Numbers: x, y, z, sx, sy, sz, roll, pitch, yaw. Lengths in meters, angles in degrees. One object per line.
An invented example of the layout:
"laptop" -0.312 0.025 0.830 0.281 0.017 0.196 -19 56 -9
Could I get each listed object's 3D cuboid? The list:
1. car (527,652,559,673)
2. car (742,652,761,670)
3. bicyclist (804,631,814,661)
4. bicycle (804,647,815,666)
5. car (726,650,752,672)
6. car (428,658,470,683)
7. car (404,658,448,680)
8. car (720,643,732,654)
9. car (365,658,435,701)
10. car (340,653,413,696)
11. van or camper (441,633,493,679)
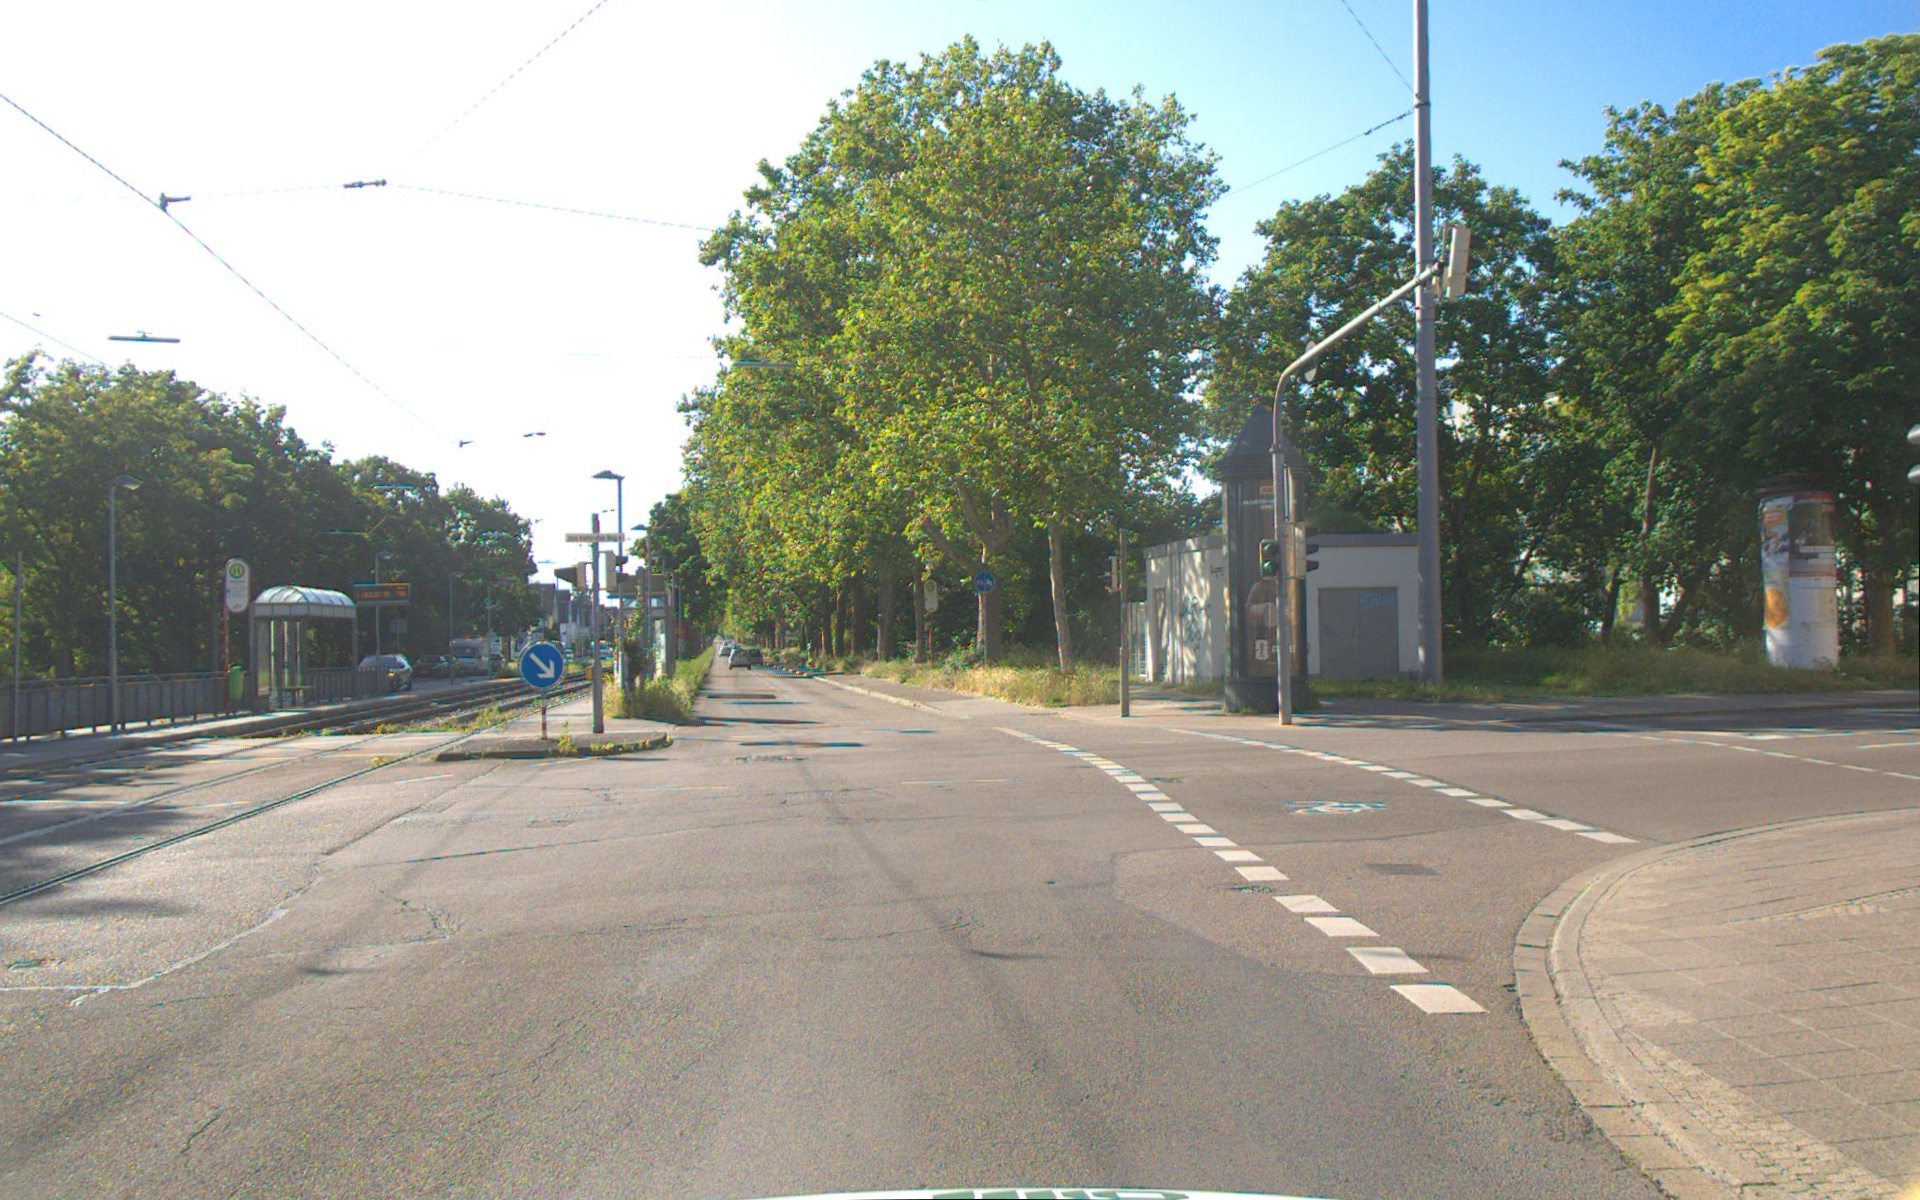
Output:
"car" -31.346 4.671 124.529 1.957 1.495 4.365 -1 -2 -10
"car" -18.859 5.513 149.521 1.718 1.633 3.742 0 -2 -8
"bicyclist" -9.167 2.804 100.489 0.524 1.801 0.711 -1 -2 -10
"bicycle" -9.152 3.424 100.496 0.526 1.085 1.430 -1 -2 -10
"car" -15.924 4.397 119.300 1.832 1.512 3.548 0 -2 -8
"car" -34.199 4.720 110.763 1.884 1.589 3.994 -1 -2 -6
"car" -33.837 4.369 104.966 1.884 1.288 3.994 -1 -2 -7
"car" -34.376 7.141 242.696 1.718 1.632 3.572 -1 -1 -9
"car" -20.752 2.938 61.425 1.772 1.492 3.991 -1 -2 -9
"car" -23.296 2.969 66.123 1.884 1.595 3.994 -1 -2 -7
"van or camper" -35.072 3.974 117.761 2.541 3.161 6.774 -1 -2 -8
